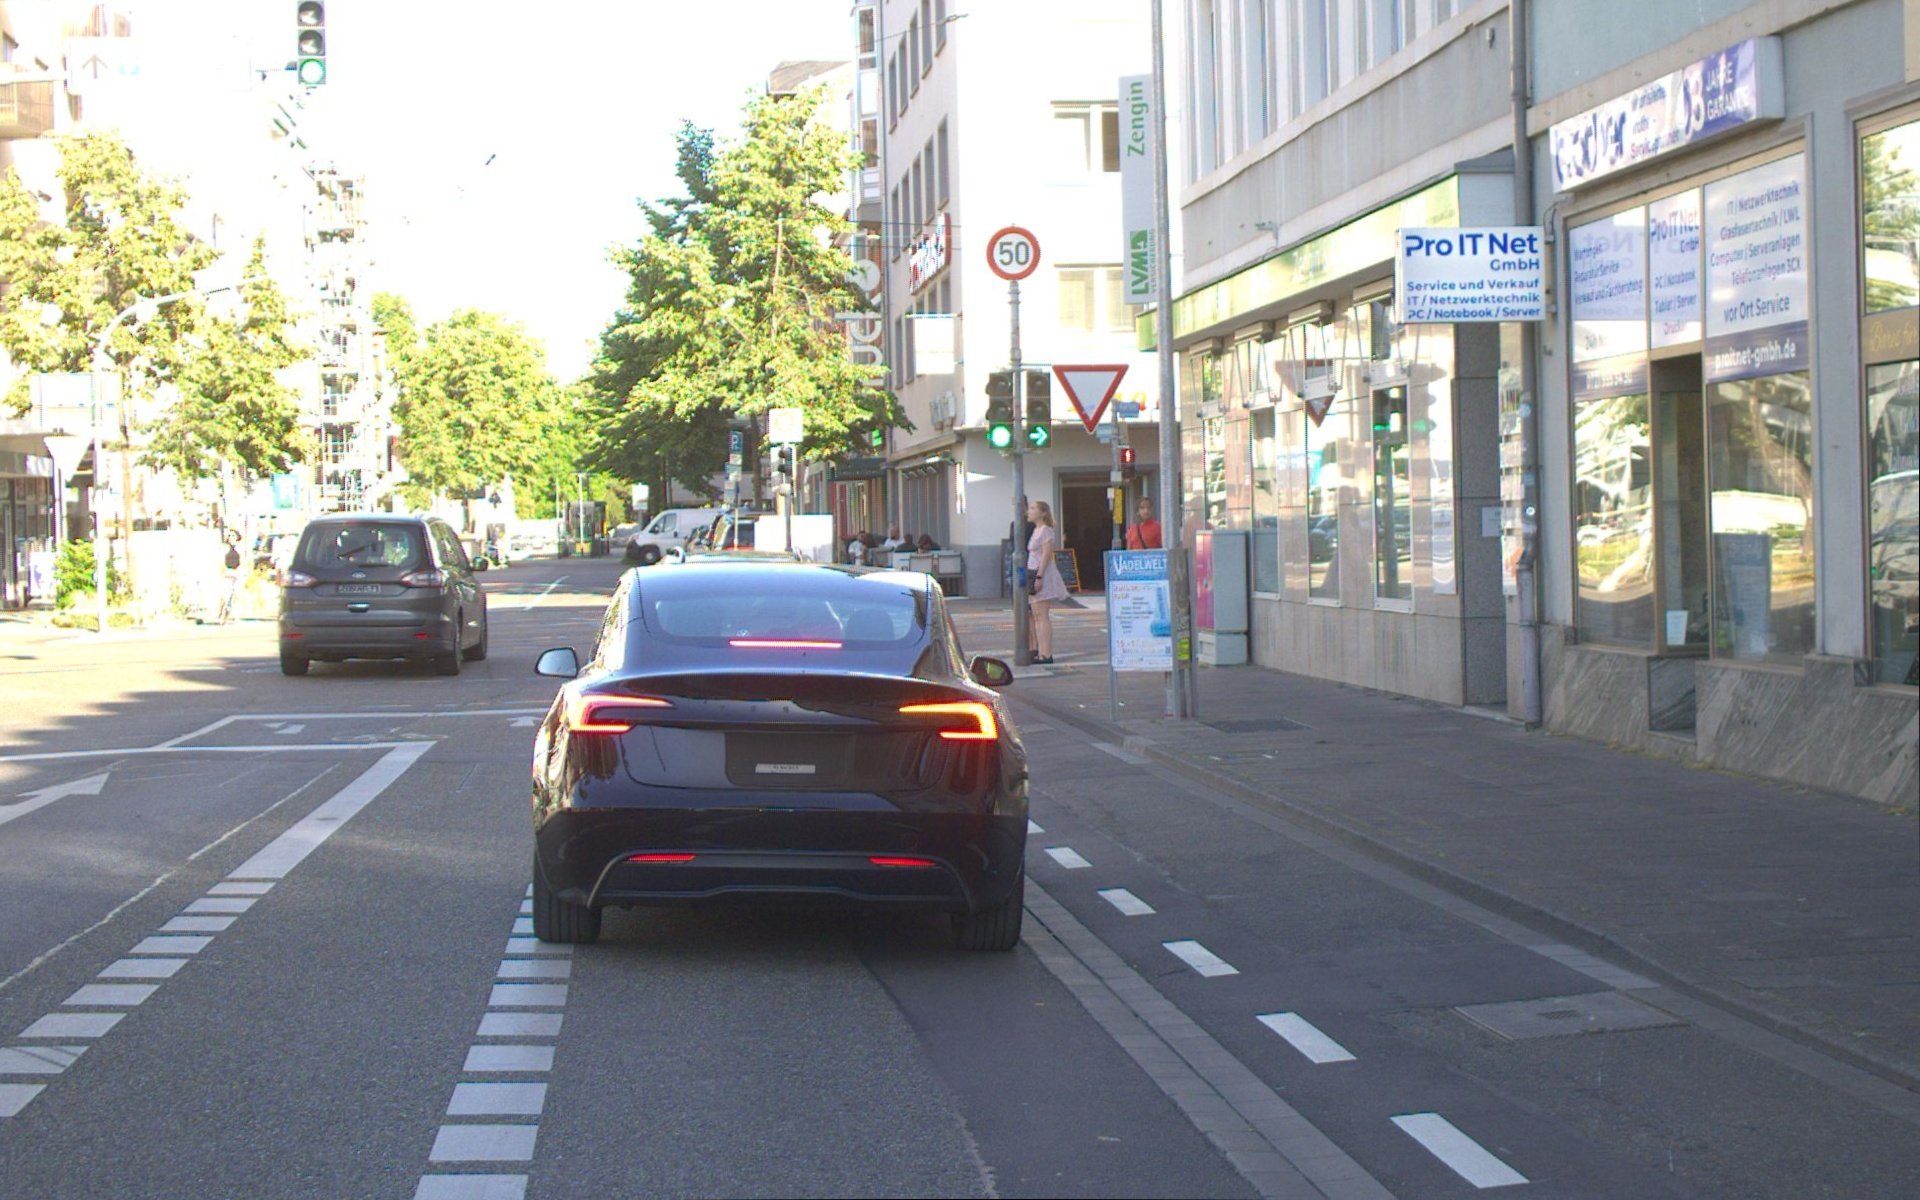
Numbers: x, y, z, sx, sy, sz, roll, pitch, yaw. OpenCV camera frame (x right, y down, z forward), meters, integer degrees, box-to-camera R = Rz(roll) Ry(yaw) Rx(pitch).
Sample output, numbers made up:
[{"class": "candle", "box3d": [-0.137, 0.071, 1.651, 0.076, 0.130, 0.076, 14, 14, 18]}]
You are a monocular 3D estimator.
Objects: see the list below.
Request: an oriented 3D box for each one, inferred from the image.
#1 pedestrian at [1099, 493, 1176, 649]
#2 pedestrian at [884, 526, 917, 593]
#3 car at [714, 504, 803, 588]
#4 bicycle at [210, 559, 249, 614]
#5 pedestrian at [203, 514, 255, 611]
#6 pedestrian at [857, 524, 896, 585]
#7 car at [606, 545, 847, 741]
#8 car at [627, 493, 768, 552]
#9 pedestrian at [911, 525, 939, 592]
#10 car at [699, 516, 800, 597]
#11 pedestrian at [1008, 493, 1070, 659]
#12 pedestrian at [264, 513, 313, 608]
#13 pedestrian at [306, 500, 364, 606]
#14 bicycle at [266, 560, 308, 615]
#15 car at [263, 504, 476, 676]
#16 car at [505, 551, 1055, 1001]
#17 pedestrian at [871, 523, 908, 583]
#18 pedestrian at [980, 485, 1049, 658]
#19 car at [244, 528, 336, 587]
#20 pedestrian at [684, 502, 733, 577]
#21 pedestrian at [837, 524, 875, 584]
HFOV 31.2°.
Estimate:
[{"class": "pedestrian", "box3d": [1.977, -0.334, 38.358, 0.690, 1.697, 0.912, -2, 1, -4]}, {"class": "pedestrian", "box3d": [-1.173, -0.801, 67.918, 0.586, 1.308, 0.560, -2, 1, -5]}, {"class": "car", "box3d": [-4.698, -1.274, 79.768, 1.903, 1.845, 4.289, -1, 1, -5]}, {"class": "bicycle", "box3d": [-13.122, -0.246, 61.737, 0.480, 0.952, 1.456, -2, 1, -19]}, {"class": "pedestrian", "box3d": [-13.063, -0.677, 61.416, 0.790, 1.706, 0.654, -1, 1, -20]}, {"class": "pedestrian", "box3d": [-1.874, -1.032, 77.388, 0.730, 1.342, 1.060, -2, 1, -7]}, {"class": "car", "box3d": [-1.853, 0.284, 27.571, 1.761, 1.414, 4.355, -1, 1, -3]}, {"class": "car", "box3d": [-10.302, -3.036, 134.784, 5.390, 2.138, 2.000, -2, 1, -6]}, {"class": "pedestrian", "box3d": [-0.692, -0.833, 68.739, 0.488, 1.317, 0.653, -2, 1, 2]}, {"class": "car", "box3d": [-4.520, -0.957, 73.337, 2.000, 1.630, 4.289, -1, 1, -5]}, {"class": "pedestrian", "box3d": [0.838, -0.255, 36.688, 0.572, 1.753, 0.649, -1, 0, -5]}, {"class": "pedestrian", "box3d": [-12.244, -0.720, 62.683, 0.778, 1.722, 0.559, -1, 1, -19]}, {"class": "pedestrian", "box3d": [-11.422, -0.864, 62.816, 0.778, 1.860, 1.002, -4, 3, -19]}, {"class": "bicycle", "box3d": [-12.252, -0.235, 62.586, 0.552, 0.965, 1.795, -2, 1, -17]}, {"class": "car", "box3d": [-6.345, -0.154, 37.326, 1.903, 1.727, 4.289, -1, 1, -5]}, {"class": "car", "box3d": [-0.780, 0.576, 14.079, 1.869, 1.422, 4.365, -1, 2, -4]}, {"class": "pedestrian", "box3d": [-1.609, -1.078, 78.684, 0.730, 1.355, 0.959, -2, 1, -5]}, {"class": "pedestrian", "box3d": [0.587, -0.313, 37.211, 0.639, 1.835, 0.682, -2, 1, -5]}, {"class": "car", "box3d": [-18.562, -1.192, 95.435, 1.993, 1.592, 4.001, -1, 1, -4]}, {"class": "pedestrian", "box3d": [-6.554, -1.582, 89.686, 0.958, 1.909, 1.105, -2, 1, 11]}, {"class": "pedestrian", "box3d": [-2.375, -1.050, 78.460, 0.709, 1.342, 1.060, -2, 1, -8]}]
